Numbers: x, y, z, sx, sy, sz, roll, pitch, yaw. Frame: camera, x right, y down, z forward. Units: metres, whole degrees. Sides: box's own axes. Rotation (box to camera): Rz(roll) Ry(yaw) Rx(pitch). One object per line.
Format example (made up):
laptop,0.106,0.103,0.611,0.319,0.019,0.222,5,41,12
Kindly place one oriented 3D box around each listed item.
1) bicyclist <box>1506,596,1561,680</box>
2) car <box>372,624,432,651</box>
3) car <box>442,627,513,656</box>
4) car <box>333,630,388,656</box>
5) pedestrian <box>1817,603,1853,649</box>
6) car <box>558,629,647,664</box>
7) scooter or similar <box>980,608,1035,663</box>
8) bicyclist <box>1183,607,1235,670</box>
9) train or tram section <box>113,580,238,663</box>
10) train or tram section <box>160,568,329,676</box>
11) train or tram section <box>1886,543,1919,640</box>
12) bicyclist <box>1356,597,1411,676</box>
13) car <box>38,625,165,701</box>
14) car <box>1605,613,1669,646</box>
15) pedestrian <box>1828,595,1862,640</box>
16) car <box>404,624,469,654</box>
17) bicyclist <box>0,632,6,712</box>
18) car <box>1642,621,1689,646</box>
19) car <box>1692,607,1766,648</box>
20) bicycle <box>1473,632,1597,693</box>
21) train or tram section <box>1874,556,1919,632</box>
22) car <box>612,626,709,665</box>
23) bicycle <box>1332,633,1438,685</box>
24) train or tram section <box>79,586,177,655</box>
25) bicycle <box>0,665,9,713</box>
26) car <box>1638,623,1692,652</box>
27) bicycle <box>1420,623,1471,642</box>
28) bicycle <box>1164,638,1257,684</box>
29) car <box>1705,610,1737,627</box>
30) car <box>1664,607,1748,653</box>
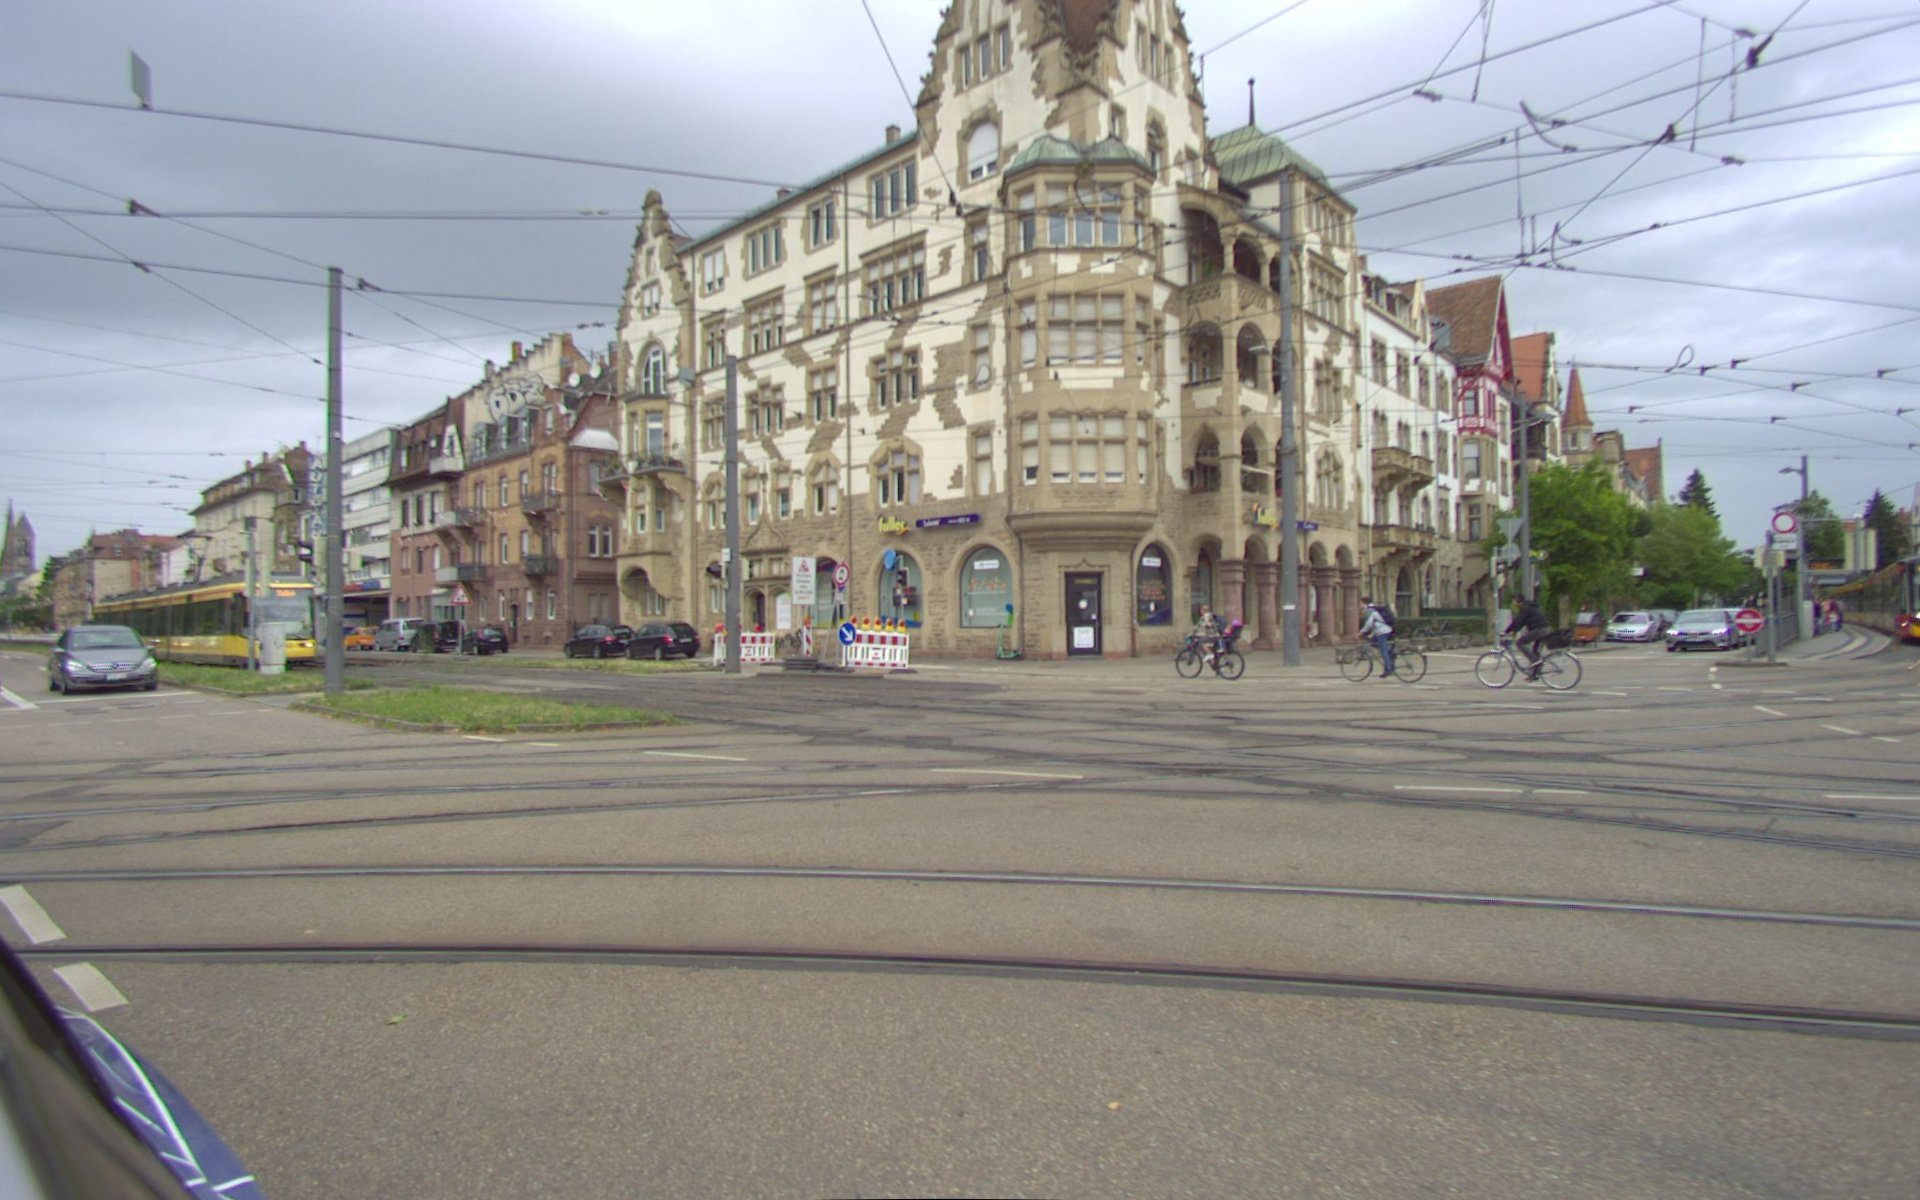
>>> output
bicyclist,10.680,0.697,18.835,0.764,1.532,0.741,-1,-1,39
car,-34.527,2.284,62.583,3.997,1.608,1.973,-1,-1,41
car,-25.635,2.188,53.777,3.997,1.453,1.973,-1,-1,41
car,-39.729,2.817,67.008,3.997,1.608,1.973,-1,-1,41
pedestrian,39.361,1.176,45.543,1.121,2.029,1.056,-1,-1,38
car,-15.843,2.031,44.787,3.997,1.453,1.973,-1,-1,41
scooter or similar,1.520,1.147,32.768,1.829,1.728,0.558,-1,-1,42
bicyclist,5.939,0.917,24.128,0.971,1.455,0.699,-3,-2,39
train or tram section,-37.106,0.990,47.552,13.621,3.463,2.615,-1,-1,44
train or tram section,-27.279,0.797,38.165,13.621,3.463,2.615,-1,-1,44
train or tram section,40.268,-0.279,41.674,2.602,3.540,13.925,-1,-1,40
bicyclist,8.932,0.764,21.353,0.858,1.618,0.715,-3,-3,39
car,-20.926,1.459,24.627,3.774,1.652,1.844,-1,-1,42
car,32.200,1.381,48.124,1.801,1.522,3.941,-1,-1,45
pedestrian,41.251,0.816,47.192,1.122,2.029,1.056,-1,-1,39
car,-29.929,2.192,57.853,3.997,1.608,1.973,-1,-1,41
bicyclist,-19.891,1.468,20.458,0.890,1.608,0.801,-4,-3,41
car,44.440,2.066,63.733,1.801,1.522,3.941,-1,-1,45
car,30.134,1.067,39.615,1.801,1.522,3.941,-1,-1,45
bicycle,10.679,1.137,18.834,1.913,1.045,0.741,-1,-1,39
train or tram section,49.307,-0.218,52.311,2.602,3.540,13.925,-1,-1,40
car,-12.271,1.820,41.401,3.997,1.453,1.973,-1,-1,41
bicycle,8.946,1.244,21.334,1.907,1.045,0.715,-3,-3,39
train or tram section,-46.990,1.141,56.940,13.621,3.463,2.615,-1,-1,44
bicycle,-19.936,1.823,20.505,2.146,0.952,0.801,-5,-4,42
car,39.005,2.037,55.934,1.801,1.522,3.941,-1,-1,45
bicycle,20.002,1.337,41.681,1.804,0.744,0.554,-1,-1,43
bicycle,5.948,1.438,24.117,2.020,1.045,0.699,-3,-2,39
car,68.764,1.694,91.465,1.801,1.522,3.941,-1,-1,45
car,26.214,1.021,35.510,1.801,1.522,3.941,-1,-1,45
